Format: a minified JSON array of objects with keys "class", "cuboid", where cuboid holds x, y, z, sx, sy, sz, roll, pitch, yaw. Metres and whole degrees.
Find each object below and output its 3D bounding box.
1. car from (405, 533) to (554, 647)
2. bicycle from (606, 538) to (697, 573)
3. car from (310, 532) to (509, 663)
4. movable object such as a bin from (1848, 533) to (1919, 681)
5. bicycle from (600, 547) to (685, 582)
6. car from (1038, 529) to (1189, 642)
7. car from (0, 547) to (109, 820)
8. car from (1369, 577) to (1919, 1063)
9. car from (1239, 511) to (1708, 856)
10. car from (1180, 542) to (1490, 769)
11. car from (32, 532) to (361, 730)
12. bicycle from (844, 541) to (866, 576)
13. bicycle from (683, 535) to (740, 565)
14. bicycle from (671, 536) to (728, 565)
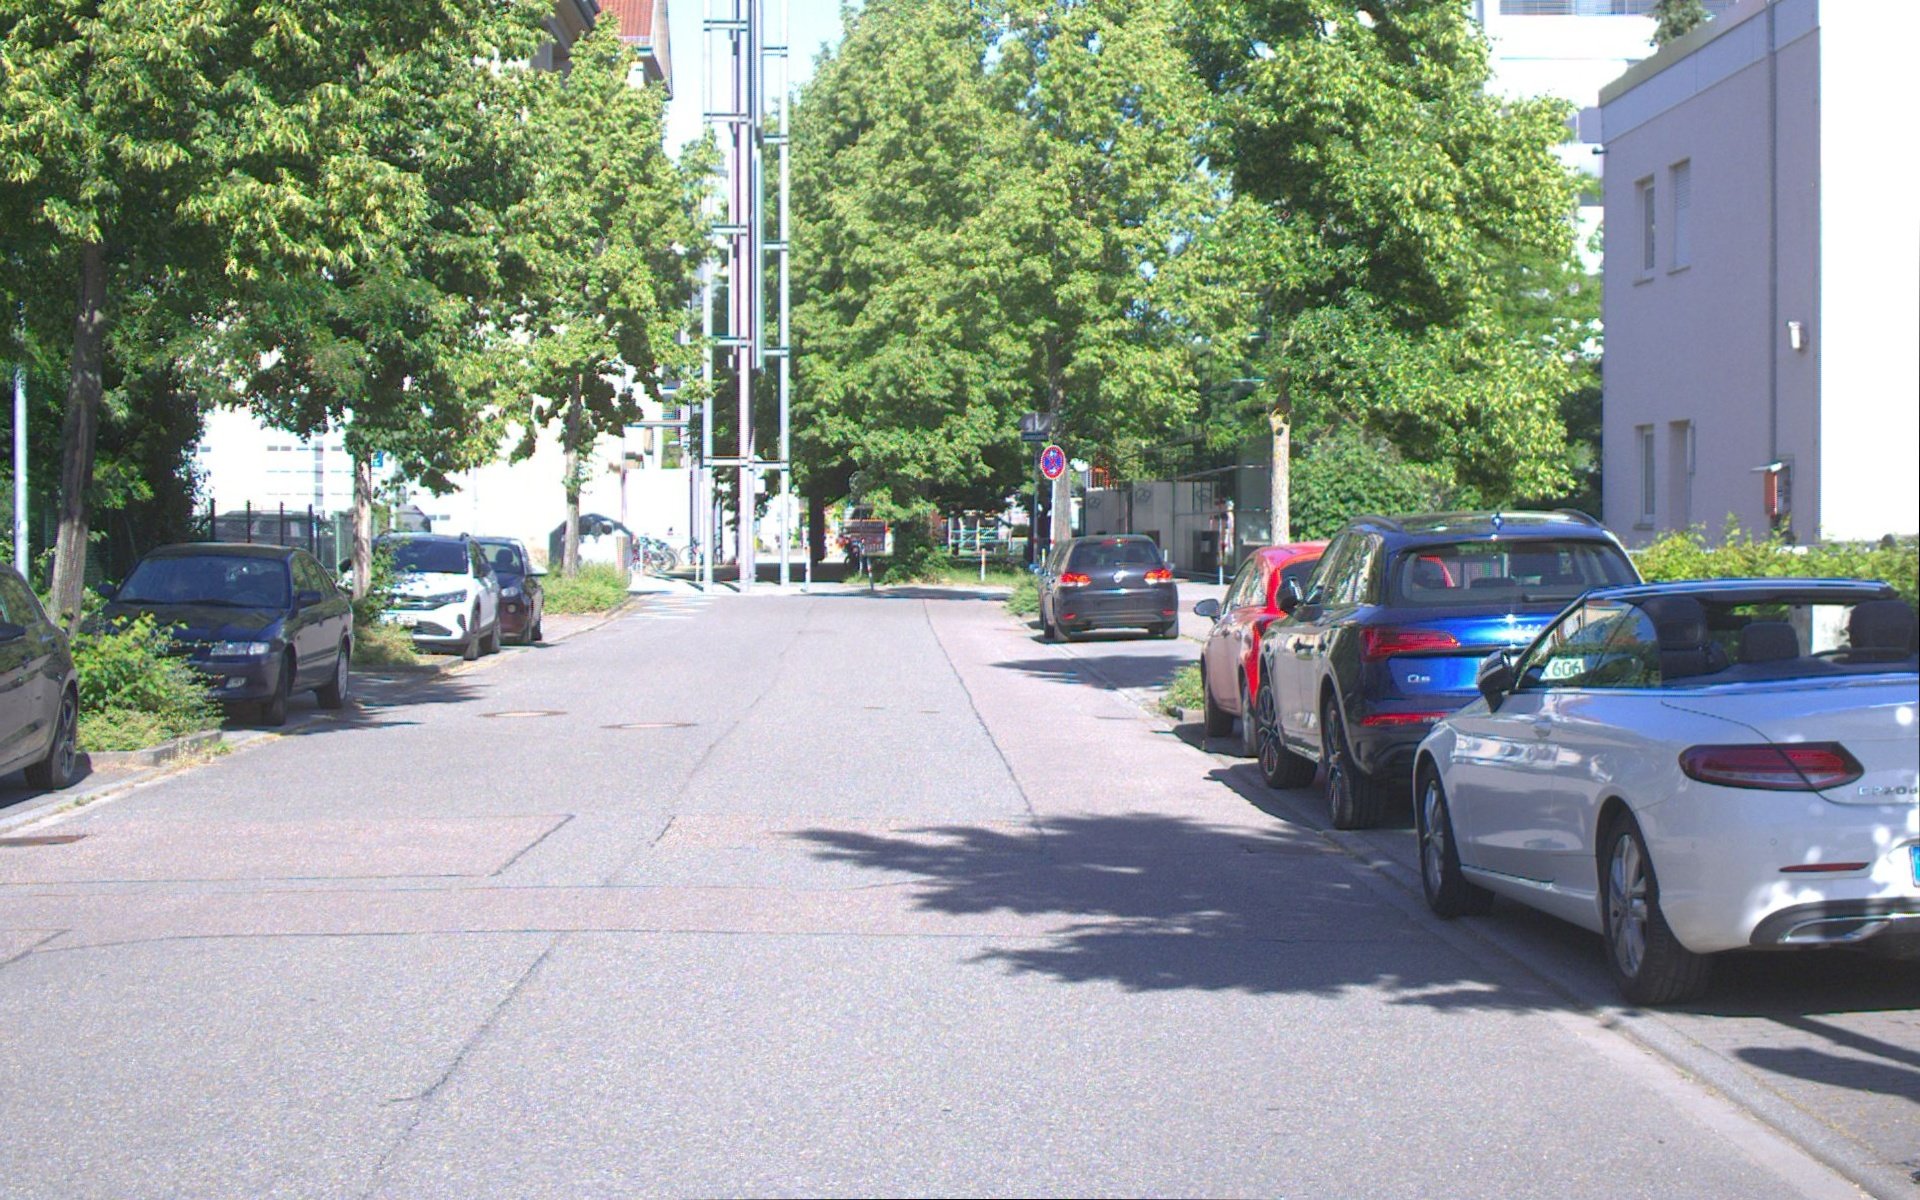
[{"class":"car","cuboid":[-6.632,-0.162,47.747,1.717,1.469,3.547,2,1,-3]},{"class":"bicycle","cuboid":[-9.557,-1.386,106.569,2.800,1.059,0.719,0,1,-5]},{"class":"car","cuboid":[-6.683,-0.061,42.117,1.840,1.469,4.002,2,1,-2]},{"class":"movable object such as a bin","cuboid":[9.817,0.051,34.491,1.366,1.443,1.631,0,1,0]},{"class":"bicycle","cuboid":[-10.468,-1.178,113.345,2.800,1.147,0.719,0,1,-5]},{"class":"car","cuboid":[2.150,-0.241,49.045,1.783,1.510,4.001,0,1,-3]},{"class":"car","cuboid":[-6.164,0.429,19.270,1.840,1.469,4.028,2,1,-2]},{"class":"car","cuboid":[2.965,0.631,12.576,1.962,1.315,4.777,-2,1,-5]},{"class":"car","cuboid":[2.745,0.383,19.373,1.900,1.677,4.411,-1,1,-1]},{"class":"car","cuboid":[2.640,0.337,24.956,1.675,1.499,3.847,-1,1,-2]},{"class":"car","cuboid":[-6.283,0.205,28.756,1.840,1.469,4.360,2,1,-2]},{"class":"bicycle","cuboid":[-3.667,-1.452,119.945,0.619,1.193,2.132,0,1,-6]},{"class":"bicycle","cuboid":[-9.157,-1.844,126.766,2.058,1.062,0.506,0,1,1]},{"class":"bicycle","cuboid":[-9.564,-1.823,126.125,2.058,1.062,0.506,0,1,1]}]
